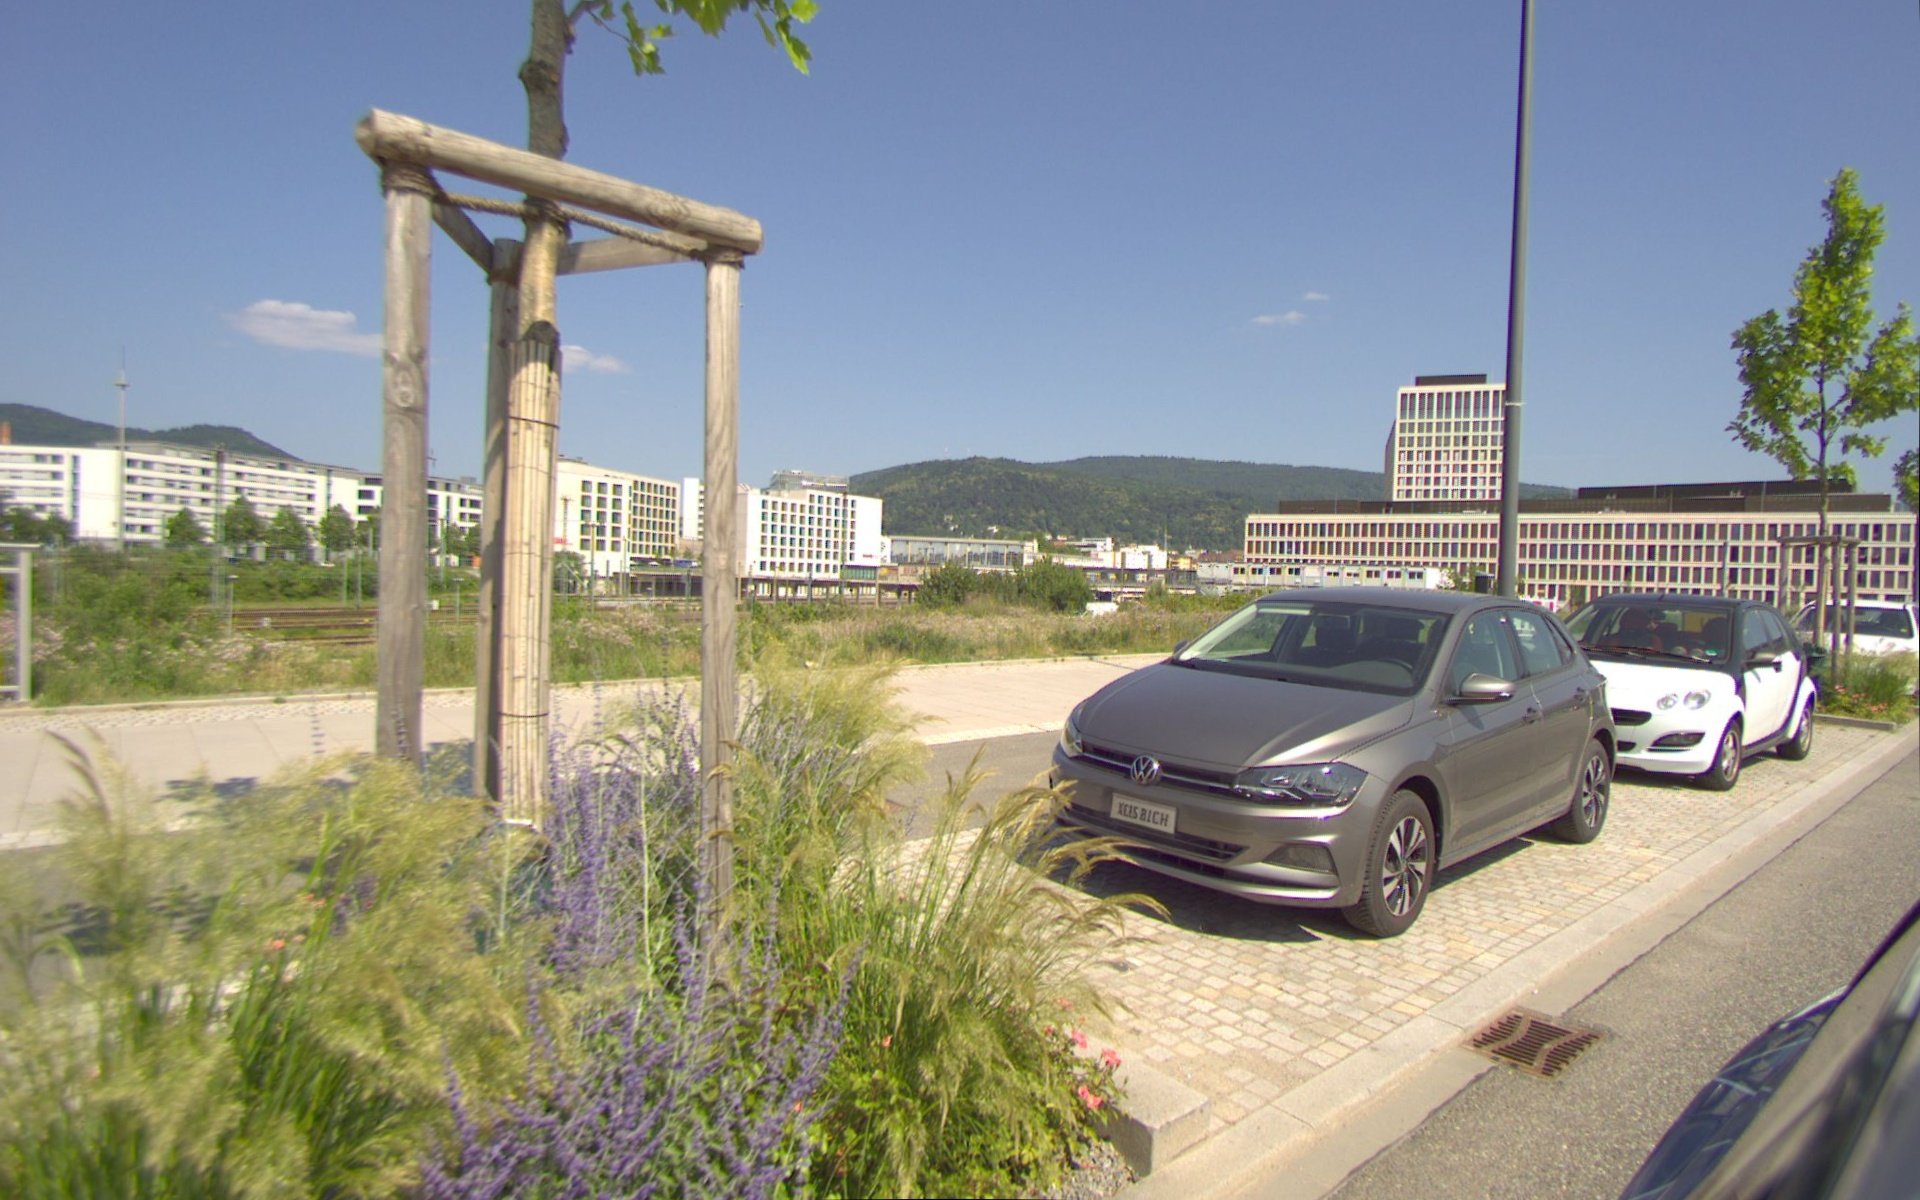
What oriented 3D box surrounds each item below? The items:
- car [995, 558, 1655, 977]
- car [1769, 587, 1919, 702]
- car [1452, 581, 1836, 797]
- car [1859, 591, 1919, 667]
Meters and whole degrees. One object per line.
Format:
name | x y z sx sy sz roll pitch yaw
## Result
car | 2.203 0.590 5.533 3.885 1.481 1.707 1 1 -41
car | 13.879 0.610 15.449 3.932 1.528 1.749 1 1 -42
car | 6.172 0.631 8.963 4.011 1.481 1.708 1 1 -39
car | 20.662 0.596 21.518 4.087 1.497 1.911 0 2 -43
